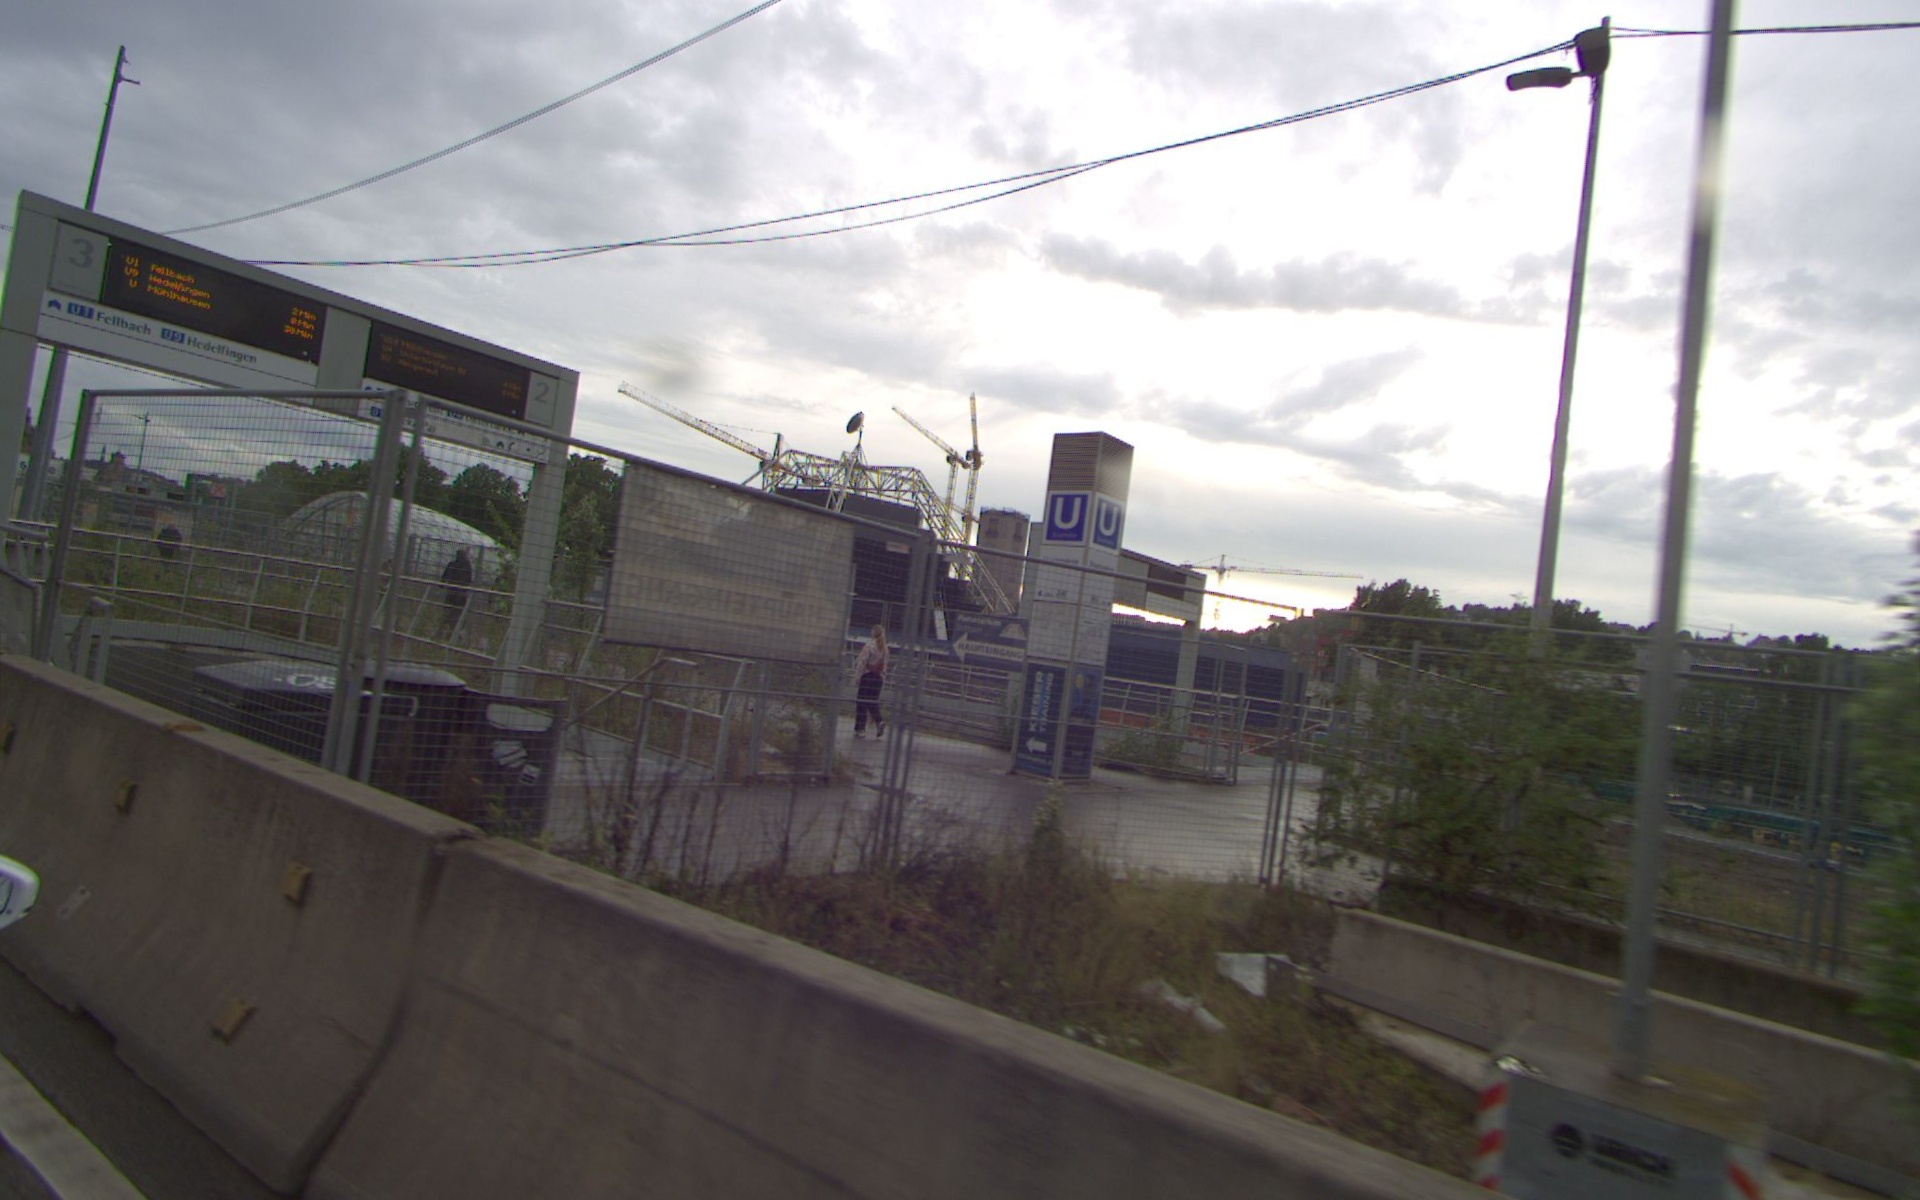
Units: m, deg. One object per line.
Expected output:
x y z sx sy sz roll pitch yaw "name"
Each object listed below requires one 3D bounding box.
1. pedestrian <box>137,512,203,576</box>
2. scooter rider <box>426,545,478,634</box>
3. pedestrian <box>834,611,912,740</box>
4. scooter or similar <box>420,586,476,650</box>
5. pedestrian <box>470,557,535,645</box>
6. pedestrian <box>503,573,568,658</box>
-23.309 -1.635 29.694 0.882 1.677 1.024 7 -2 9 "pedestrian"
-10.714 -0.219 21.216 0.689 1.776 0.521 7 -1 37 "scooter rider"
-1.294 1.106 14.908 0.684 1.798 0.810 8 -2 -29 "pedestrian"
-10.799 0.380 21.211 1.079 1.193 0.491 7 -1 38 "scooter or similar"
-10.114 0.029 22.234 1.006 1.798 0.691 6 -2 32 "pedestrian"
-9.655 0.355 22.885 1.006 1.798 0.727 6 -2 34 "pedestrian"
